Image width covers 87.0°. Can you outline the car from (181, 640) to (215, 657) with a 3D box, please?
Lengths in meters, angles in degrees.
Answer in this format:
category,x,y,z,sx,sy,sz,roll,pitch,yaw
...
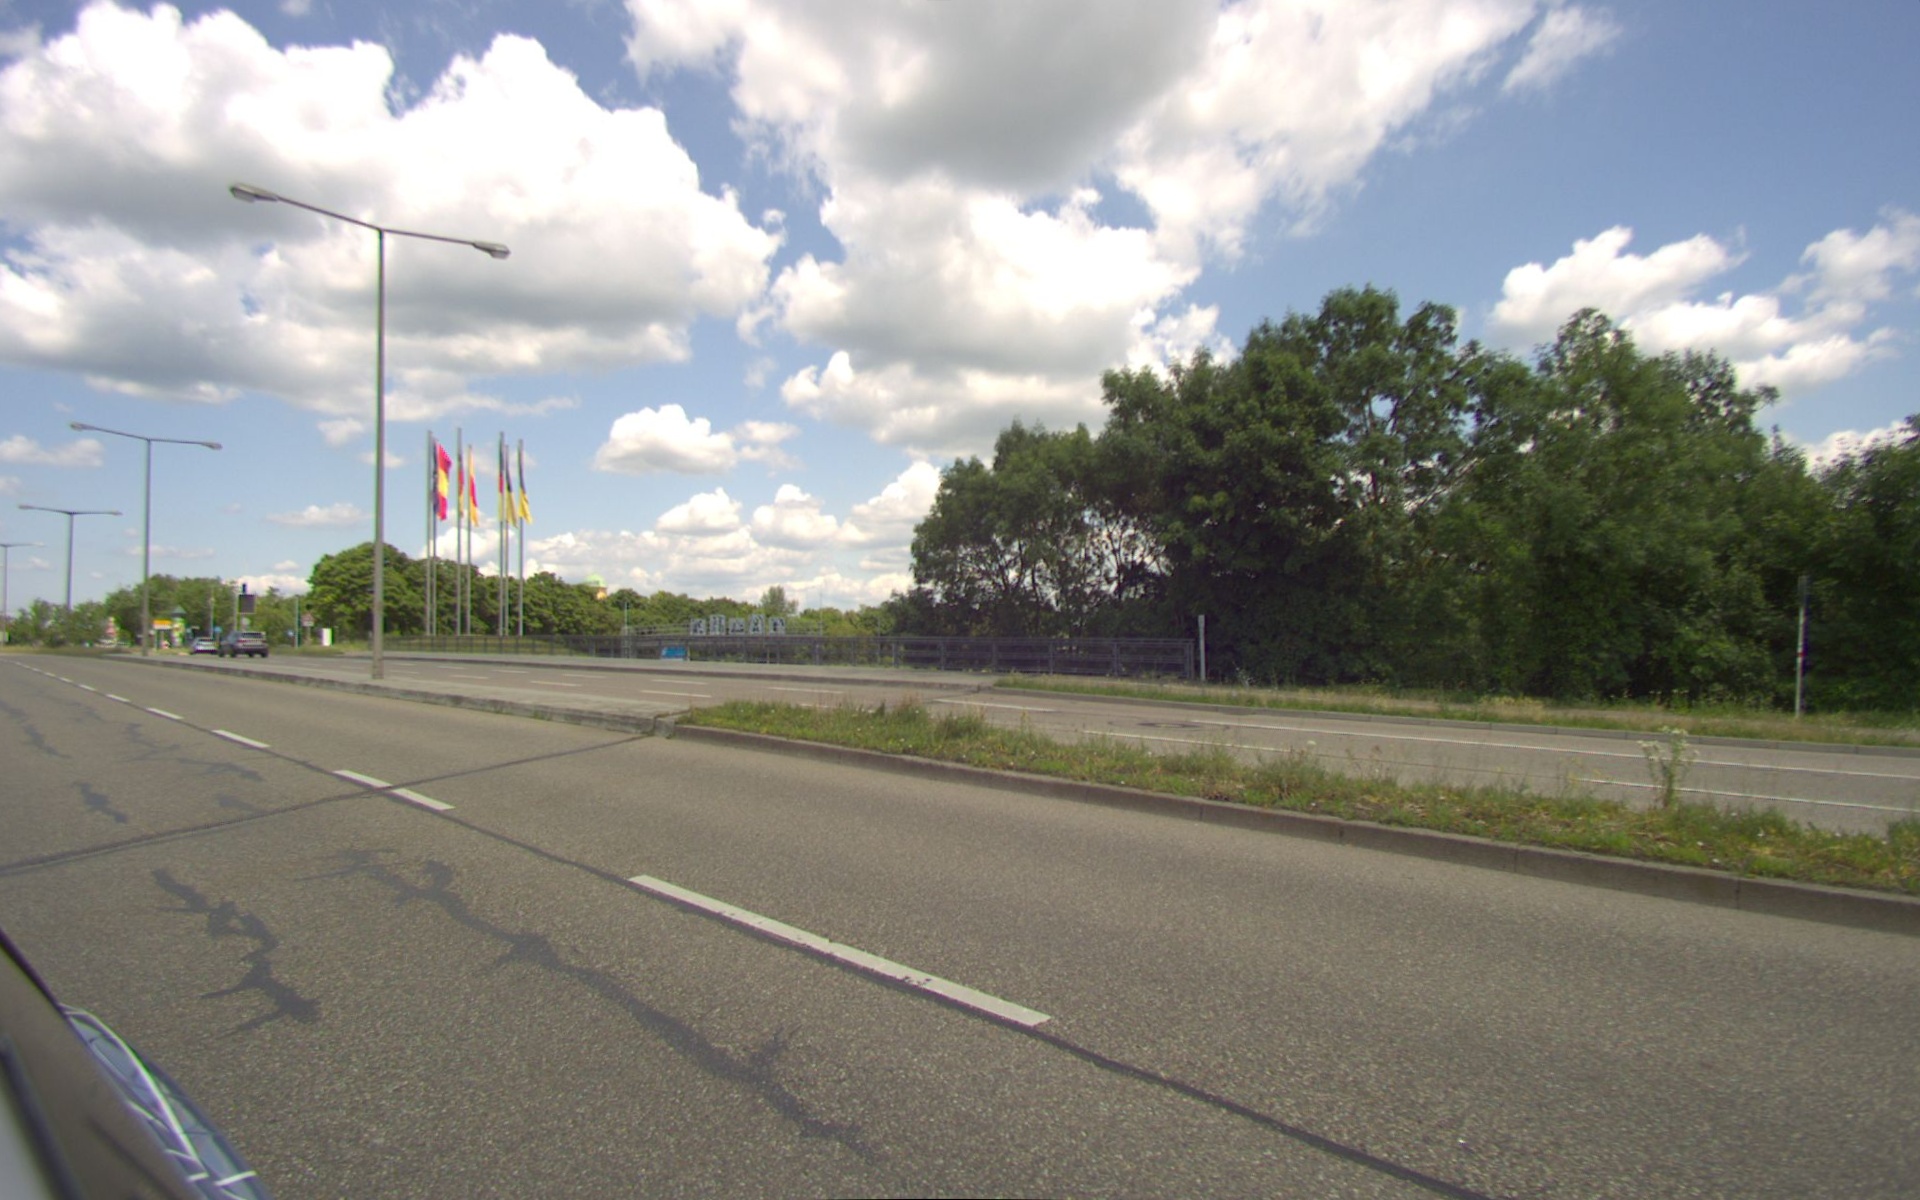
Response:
category,x,y,z,sx,sy,sz,roll,pitch,yaw
car,-64.691,4.140,85.919,1.644,1.424,4.552,5,-6,-44

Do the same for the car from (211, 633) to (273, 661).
category,x,y,z,sx,sy,sz,roll,pitch,yaw
car,-45.335,2.995,63.885,4.547,1.639,2.066,-3,-7,41
